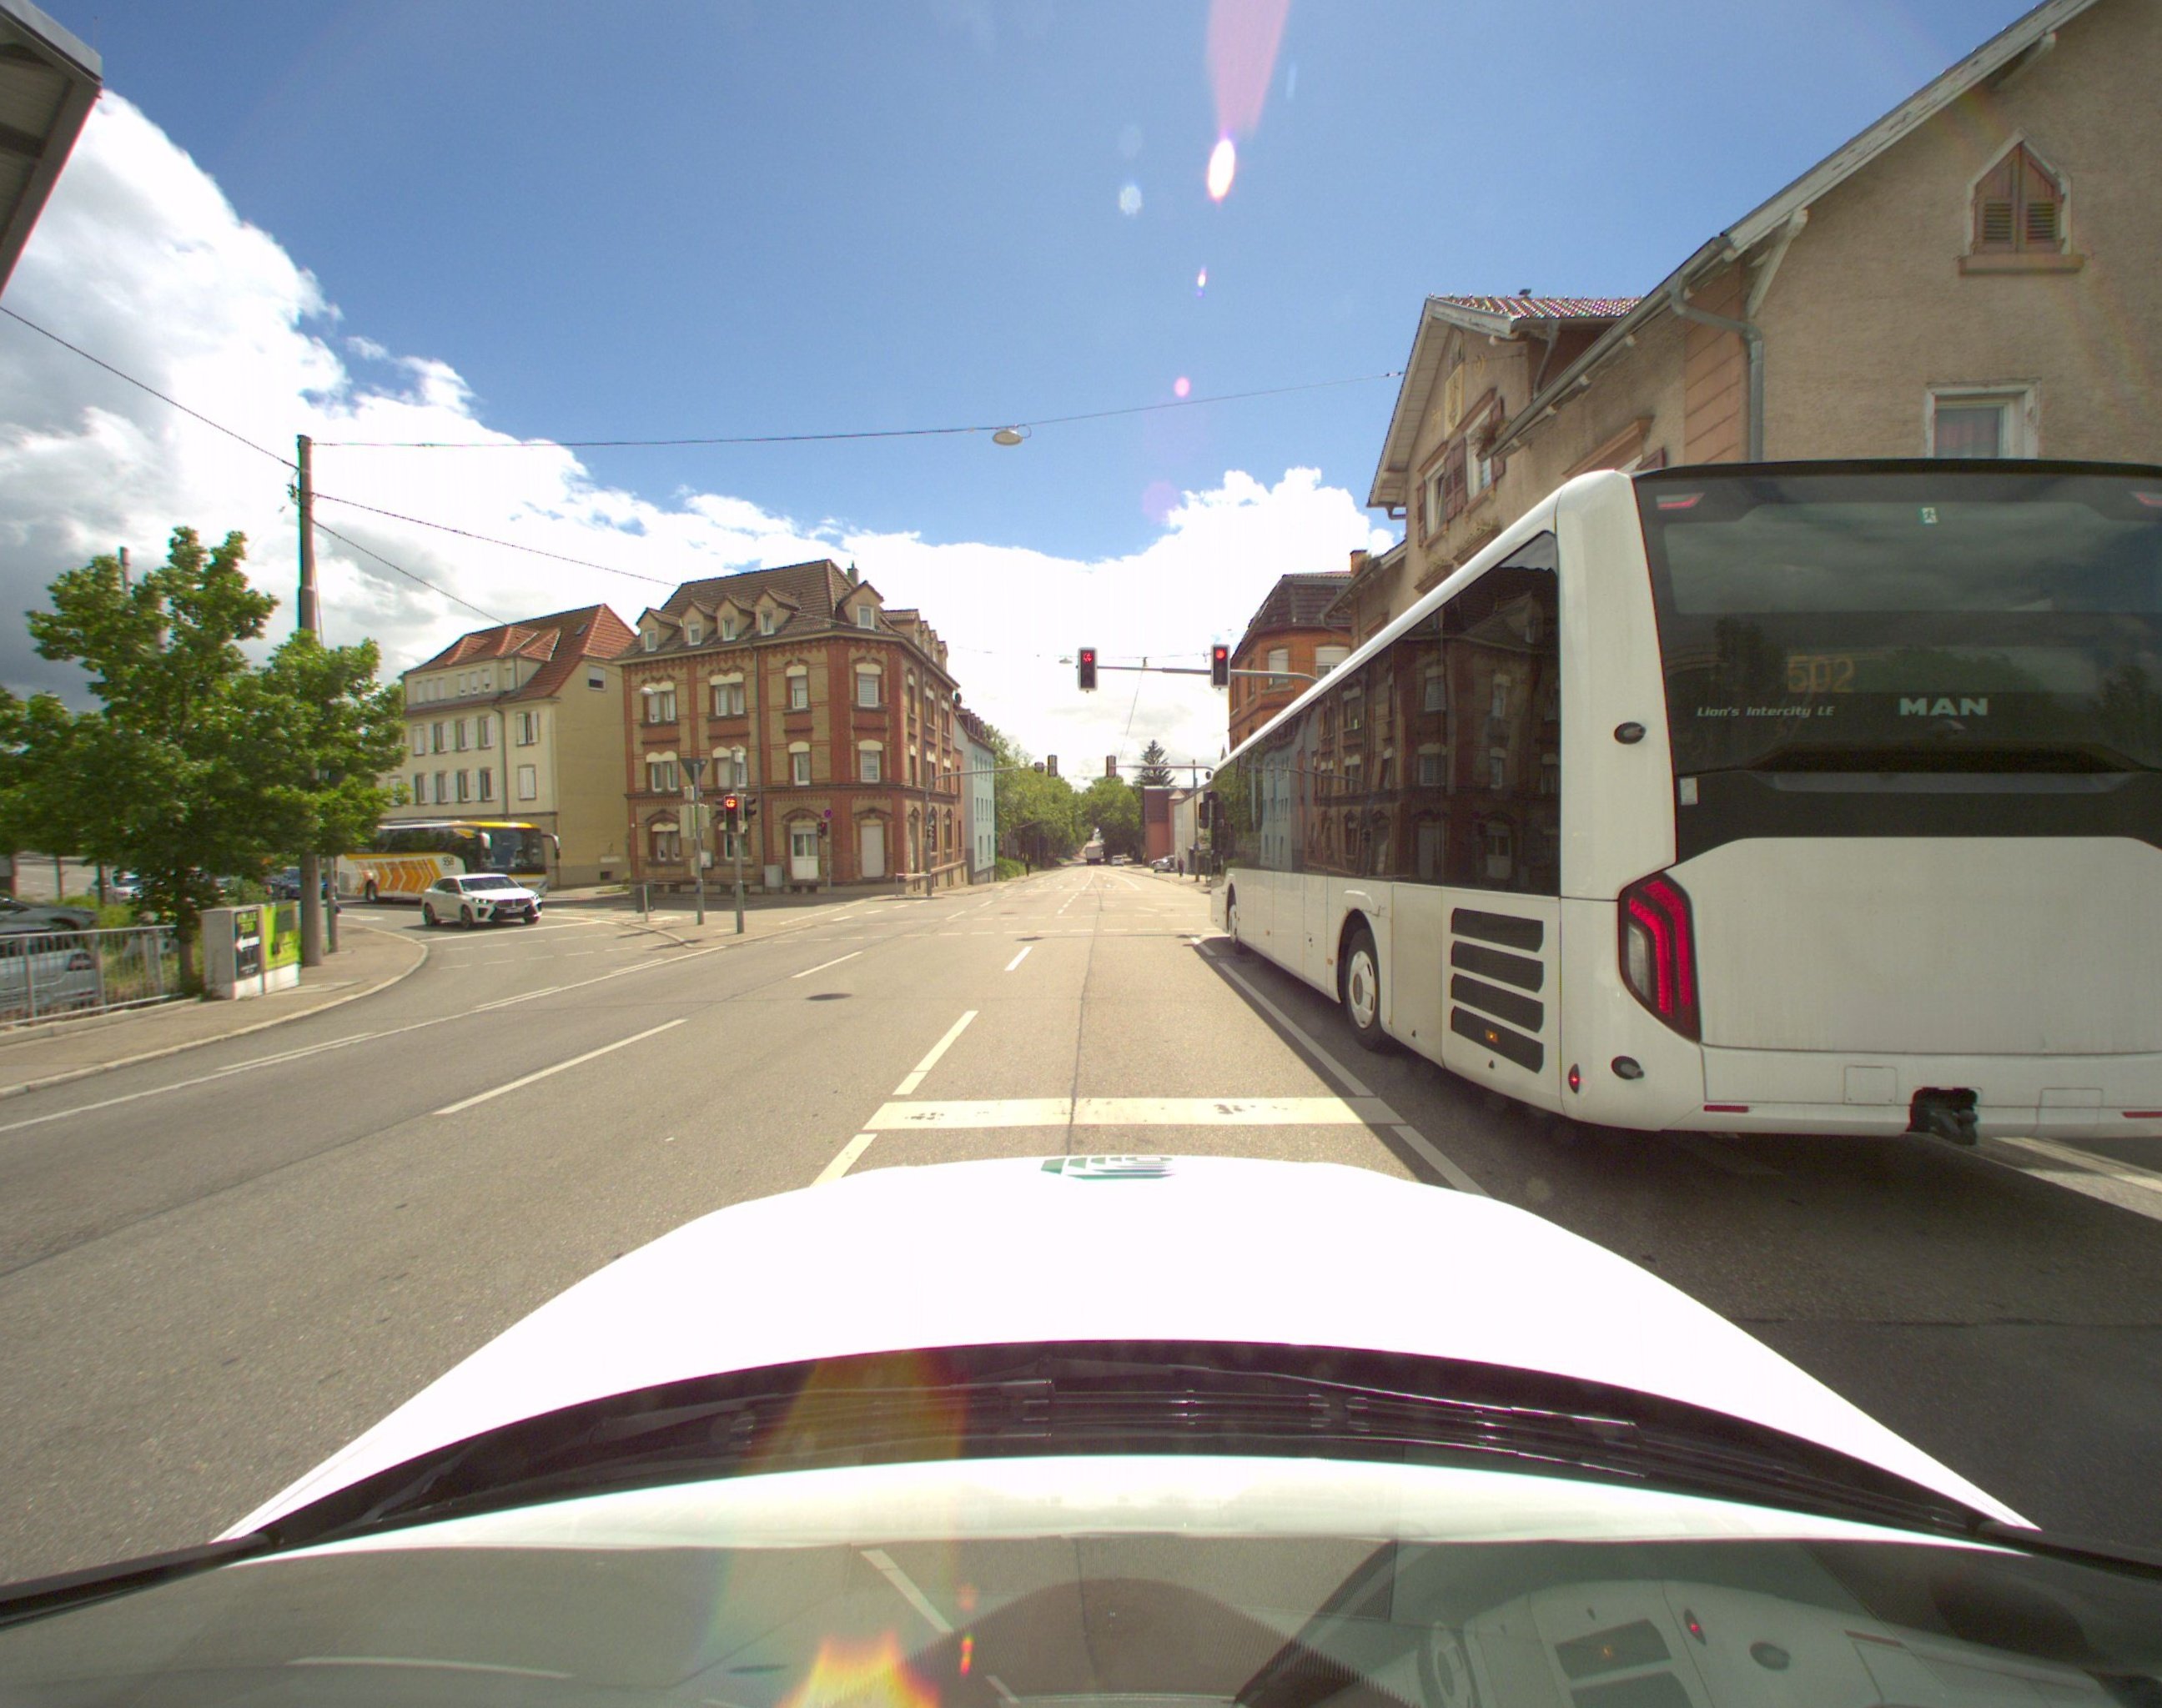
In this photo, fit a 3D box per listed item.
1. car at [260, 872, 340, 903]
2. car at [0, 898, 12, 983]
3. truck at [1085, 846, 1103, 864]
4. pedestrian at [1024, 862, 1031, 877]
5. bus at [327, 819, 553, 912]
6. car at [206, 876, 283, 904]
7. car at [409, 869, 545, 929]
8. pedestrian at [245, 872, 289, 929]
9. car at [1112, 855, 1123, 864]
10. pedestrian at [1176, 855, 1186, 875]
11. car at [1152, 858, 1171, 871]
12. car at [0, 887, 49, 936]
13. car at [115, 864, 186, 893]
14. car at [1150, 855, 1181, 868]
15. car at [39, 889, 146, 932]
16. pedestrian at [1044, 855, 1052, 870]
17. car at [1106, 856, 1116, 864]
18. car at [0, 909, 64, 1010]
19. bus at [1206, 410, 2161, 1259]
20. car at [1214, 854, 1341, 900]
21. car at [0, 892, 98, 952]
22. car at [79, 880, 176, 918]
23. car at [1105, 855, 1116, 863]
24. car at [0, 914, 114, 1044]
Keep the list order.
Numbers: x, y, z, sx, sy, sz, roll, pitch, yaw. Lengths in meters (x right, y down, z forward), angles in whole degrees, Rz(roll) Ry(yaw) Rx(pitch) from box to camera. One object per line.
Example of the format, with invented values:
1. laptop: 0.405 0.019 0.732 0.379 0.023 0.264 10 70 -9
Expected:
1. car: -39.207 1.674 40.886 3.949 1.409 1.762 -2 0 28
2. car: -23.484 1.773 16.518 3.455 1.680 1.663 -1 2 30
3. truck: 2.242 0.207 144.662 2.917 3.081 7.883 -2 0 0
4. pedestrian: -5.603 1.643 85.349 0.727 1.565 0.561 -1 -1 0
5. bus: -28.202 0.400 35.579 12.111 3.621 2.788 0 0 26
6. car: -45.708 1.963 44.492 3.949 1.409 1.923 -2 0 29
7. car: -18.536 1.395 24.957 4.250 1.552 1.845 -4 -1 32
8. pedestrian: -26.038 1.471 26.042 1.129 1.734 0.764 -2 -1 34
9. car: 5.818 0.926 129.533 1.787 1.409 4.001 -1 0 2
10. pedestrian: 8.872 1.010 72.277 0.736 1.750 0.619 -2 0 1
11. car: 9.214 1.163 93.030 1.788 1.409 4.000 -2 0 1
12. car: -36.198 1.908 25.803 1.785 1.553 4.023 -2 0 25
13. car: -53.674 1.428 46.977 3.949 1.554 1.923 -2 0 29
14. car: 11.759 1.027 113.085 3.978 1.757 1.998 -2 0 -3
15. car: -37.462 2.112 30.874 3.456 1.448 1.811 -2 0 26
16. pedestrian: -4.632 1.140 113.619 0.991 2.013 1.189 -2 0 1
17. car: 5.725 1.094 154.026 1.787 1.409 4.421 -1 0 3
18. car: -19.448 1.830 14.141 3.455 1.526 1.626 -1 2 29
19. bus: 3.516 -0.081 9.269 2.662 3.155 12.467 0 0 2
20. car: 6.751 0.776 27.969 3.951 1.427 1.714 -2 0 23
21. car: -29.539 1.896 22.022 1.777 1.477 3.523 -2 1 32
22. car: -43.808 2.071 37.417 3.951 1.596 1.869 -2 0 25
23. car: 5.269 0.960 145.926 1.787 1.409 4.421 -1 0 3
24. car: -16.068 1.813 12.099 3.321 1.560 1.692 0 2 32
